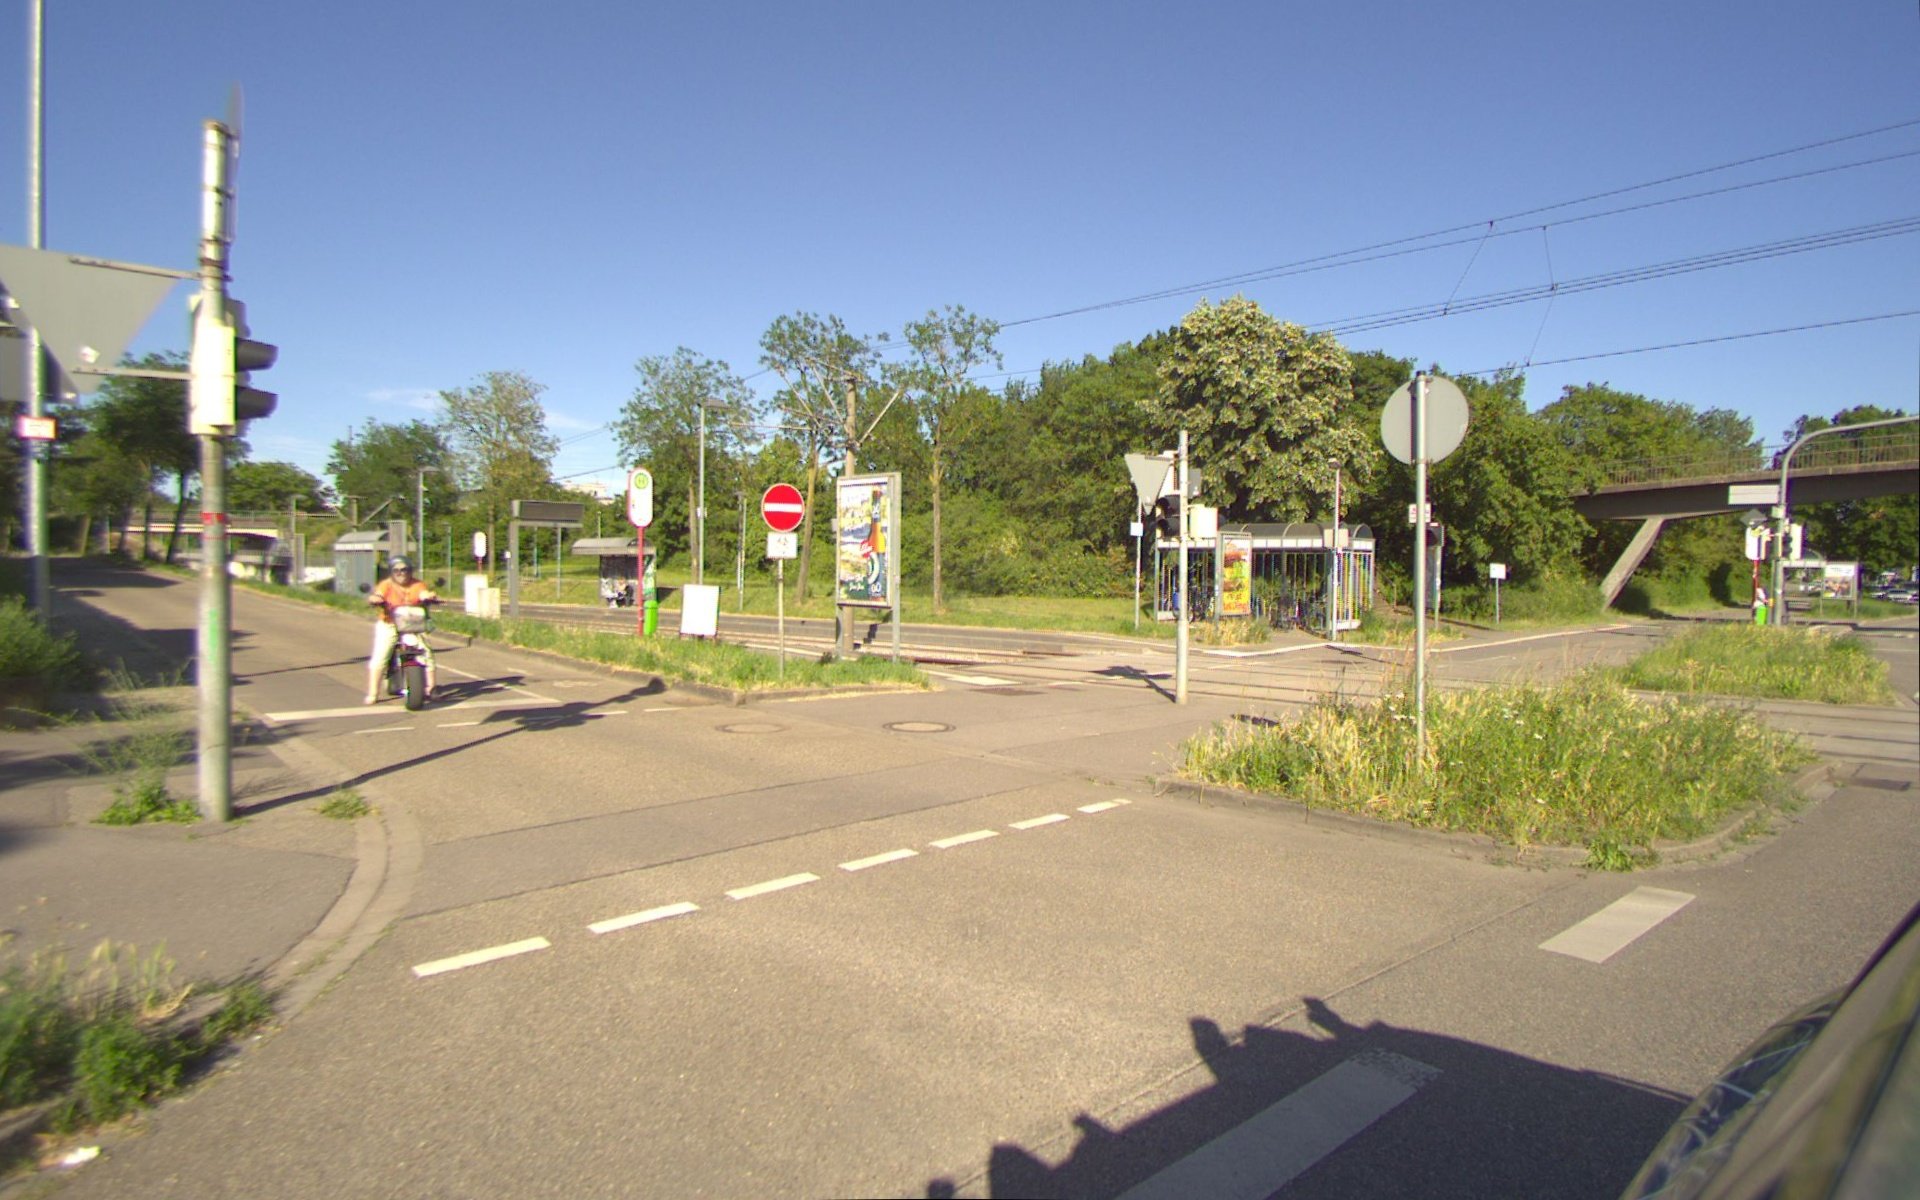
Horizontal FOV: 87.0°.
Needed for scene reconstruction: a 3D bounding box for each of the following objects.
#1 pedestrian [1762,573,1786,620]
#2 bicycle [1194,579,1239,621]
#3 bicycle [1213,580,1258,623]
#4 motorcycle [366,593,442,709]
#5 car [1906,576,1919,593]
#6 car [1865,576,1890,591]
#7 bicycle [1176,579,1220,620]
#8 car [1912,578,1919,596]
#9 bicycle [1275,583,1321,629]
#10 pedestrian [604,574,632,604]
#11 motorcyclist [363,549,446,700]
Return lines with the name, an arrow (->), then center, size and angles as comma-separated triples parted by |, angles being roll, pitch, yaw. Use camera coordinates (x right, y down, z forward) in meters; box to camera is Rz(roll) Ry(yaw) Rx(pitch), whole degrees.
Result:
pedestrian -> 29.402, -0.132, 36.556 | 0.587, 1.683, 0.706 | 2, 2, 43
bicycle -> 7.729, -0.019, 30.415 | 1.757, 1.079, 0.430 | -7, 8, -43
bicycle -> 8.175, 0.027, 29.979 | 1.757, 1.079, 0.430 | -7, 8, -43
motorcycle -> -6.010, 0.504, 10.899 | 0.443, 1.084, 1.761 | 0, 2, -38
car -> 89.795, -1.450, 94.606 | 1.867, 1.641, 3.778 | 1, 1, 42
car -> 98.213, -1.781, 108.335 | 1.867, 1.641, 3.780 | 1, 1, 41
bicycle -> 7.274, -0.039, 30.898 | 1.757, 1.079, 0.430 | -7, 8, -43
car -> 107.254, -1.441, 112.347 | 1.992, 2.039, 3.941 | 1, 1, 41
bicycle -> 9.452, 0.157, 28.275 | 1.757, 1.079, 0.430 | -7, 8, -43
pedestrian -> -14.700, -0.480, 43.528 | 0.925, 1.258, 0.560 | -4, 4, -42
motorcyclist -> -6.062, 0.243, 11.036 | 0.687, 1.577, 0.695 | 0, 2, -39
